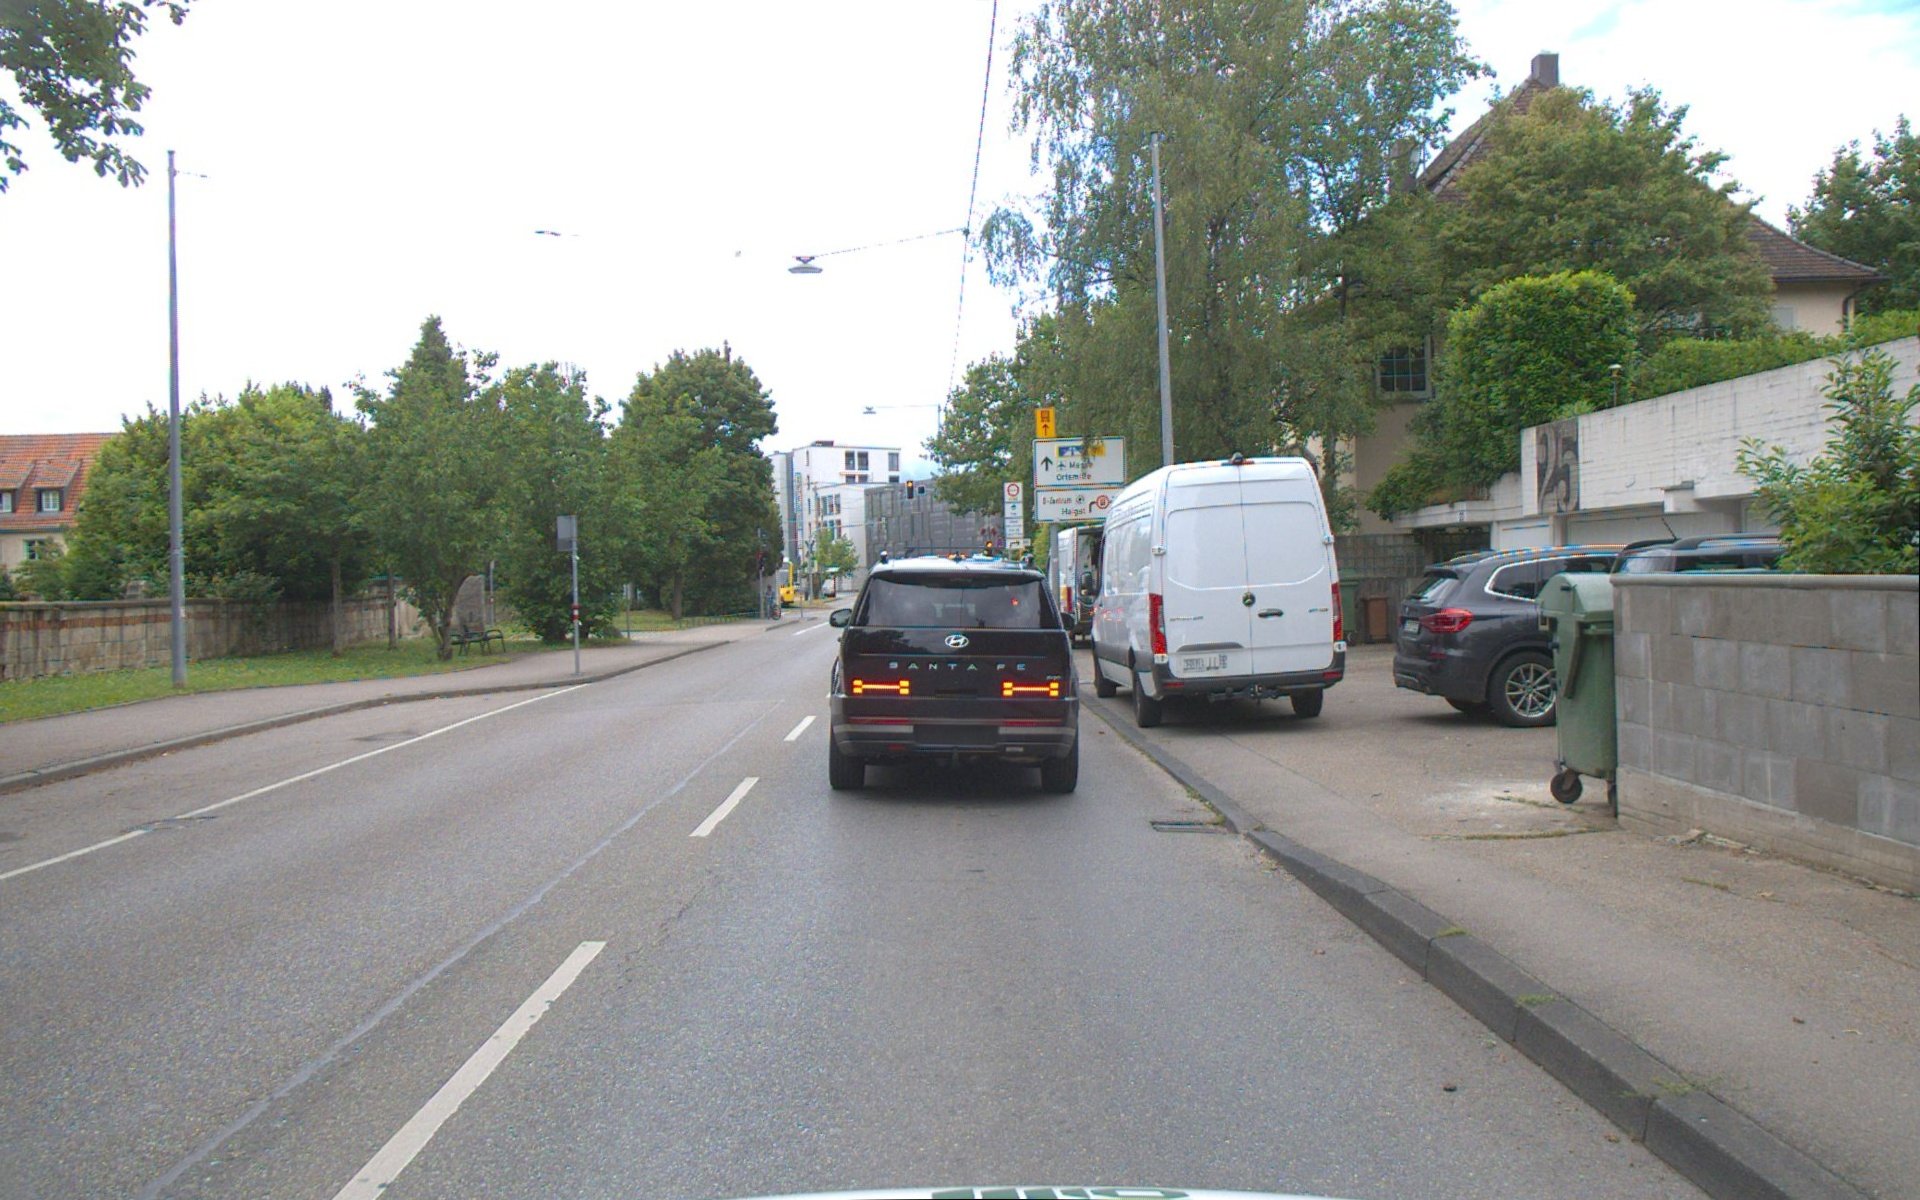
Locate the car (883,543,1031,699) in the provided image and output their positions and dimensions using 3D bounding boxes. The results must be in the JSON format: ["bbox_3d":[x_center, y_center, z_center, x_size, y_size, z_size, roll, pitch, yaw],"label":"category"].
[{"bbox_3d":[-0.094,0.260,23.668,1.924,2.036,3.999,0,0,-2],"label":"car"}]

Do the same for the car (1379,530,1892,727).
[{"bbox_3d":[6.547,0.259,16.384,4.304,1.681,1.830,-2,0,0],"label":"car"}]

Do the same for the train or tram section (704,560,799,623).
[{"bbox_3d":[-17.056,-0.495,133.534,3.148,4.602,18.560,0,-1,-21],"label":"train or tram section"}]

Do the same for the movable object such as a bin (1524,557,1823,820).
[{"bbox_3d":[4.358,0.513,10.223,1.273,1.476,1.180,-3,0,-1],"label":"movable object such as a bin"}]

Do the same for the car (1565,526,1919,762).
[{"bbox_3d":[7.006,0.286,13.133,3.719,1.681,1.830,-2,1,2],"label":"car"}]

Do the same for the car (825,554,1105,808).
[{"bbox_3d":[-0.014,0.541,13.414,1.924,1.741,3.999,0,0,-2],"label":"car"}]

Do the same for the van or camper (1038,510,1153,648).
[{"bbox_3d":[3.011,-0.470,37.894,1.924,2.845,5.285,-3,1,-2],"label":"van or camper"}]

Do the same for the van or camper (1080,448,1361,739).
[{"bbox_3d":[2.736,-0.096,19.062,1.924,2.673,6.357,-4,1,-2],"label":"van or camper"}]

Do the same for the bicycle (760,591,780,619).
[{"bbox_3d":[-9.258,0.259,80.537,0.664,1.302,2.491,0,-1,-14],"label":"bicycle"}]

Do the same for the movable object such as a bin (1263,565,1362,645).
[{"bbox_3d":[6.834,0.084,32.167,1.422,1.499,1.715,0,0,-6],"label":"movable object such as a bin"}]

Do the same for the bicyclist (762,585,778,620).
[{"bbox_3d":[-9.263,0.112,80.568,0.664,1.688,0.855,0,-1,-15],"label":"bicyclist"}]

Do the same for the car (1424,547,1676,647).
[{"bbox_3d":[10.751,-0.066,30.318,3.907,1.741,1.969,0,0,-3],"label":"car"}]
